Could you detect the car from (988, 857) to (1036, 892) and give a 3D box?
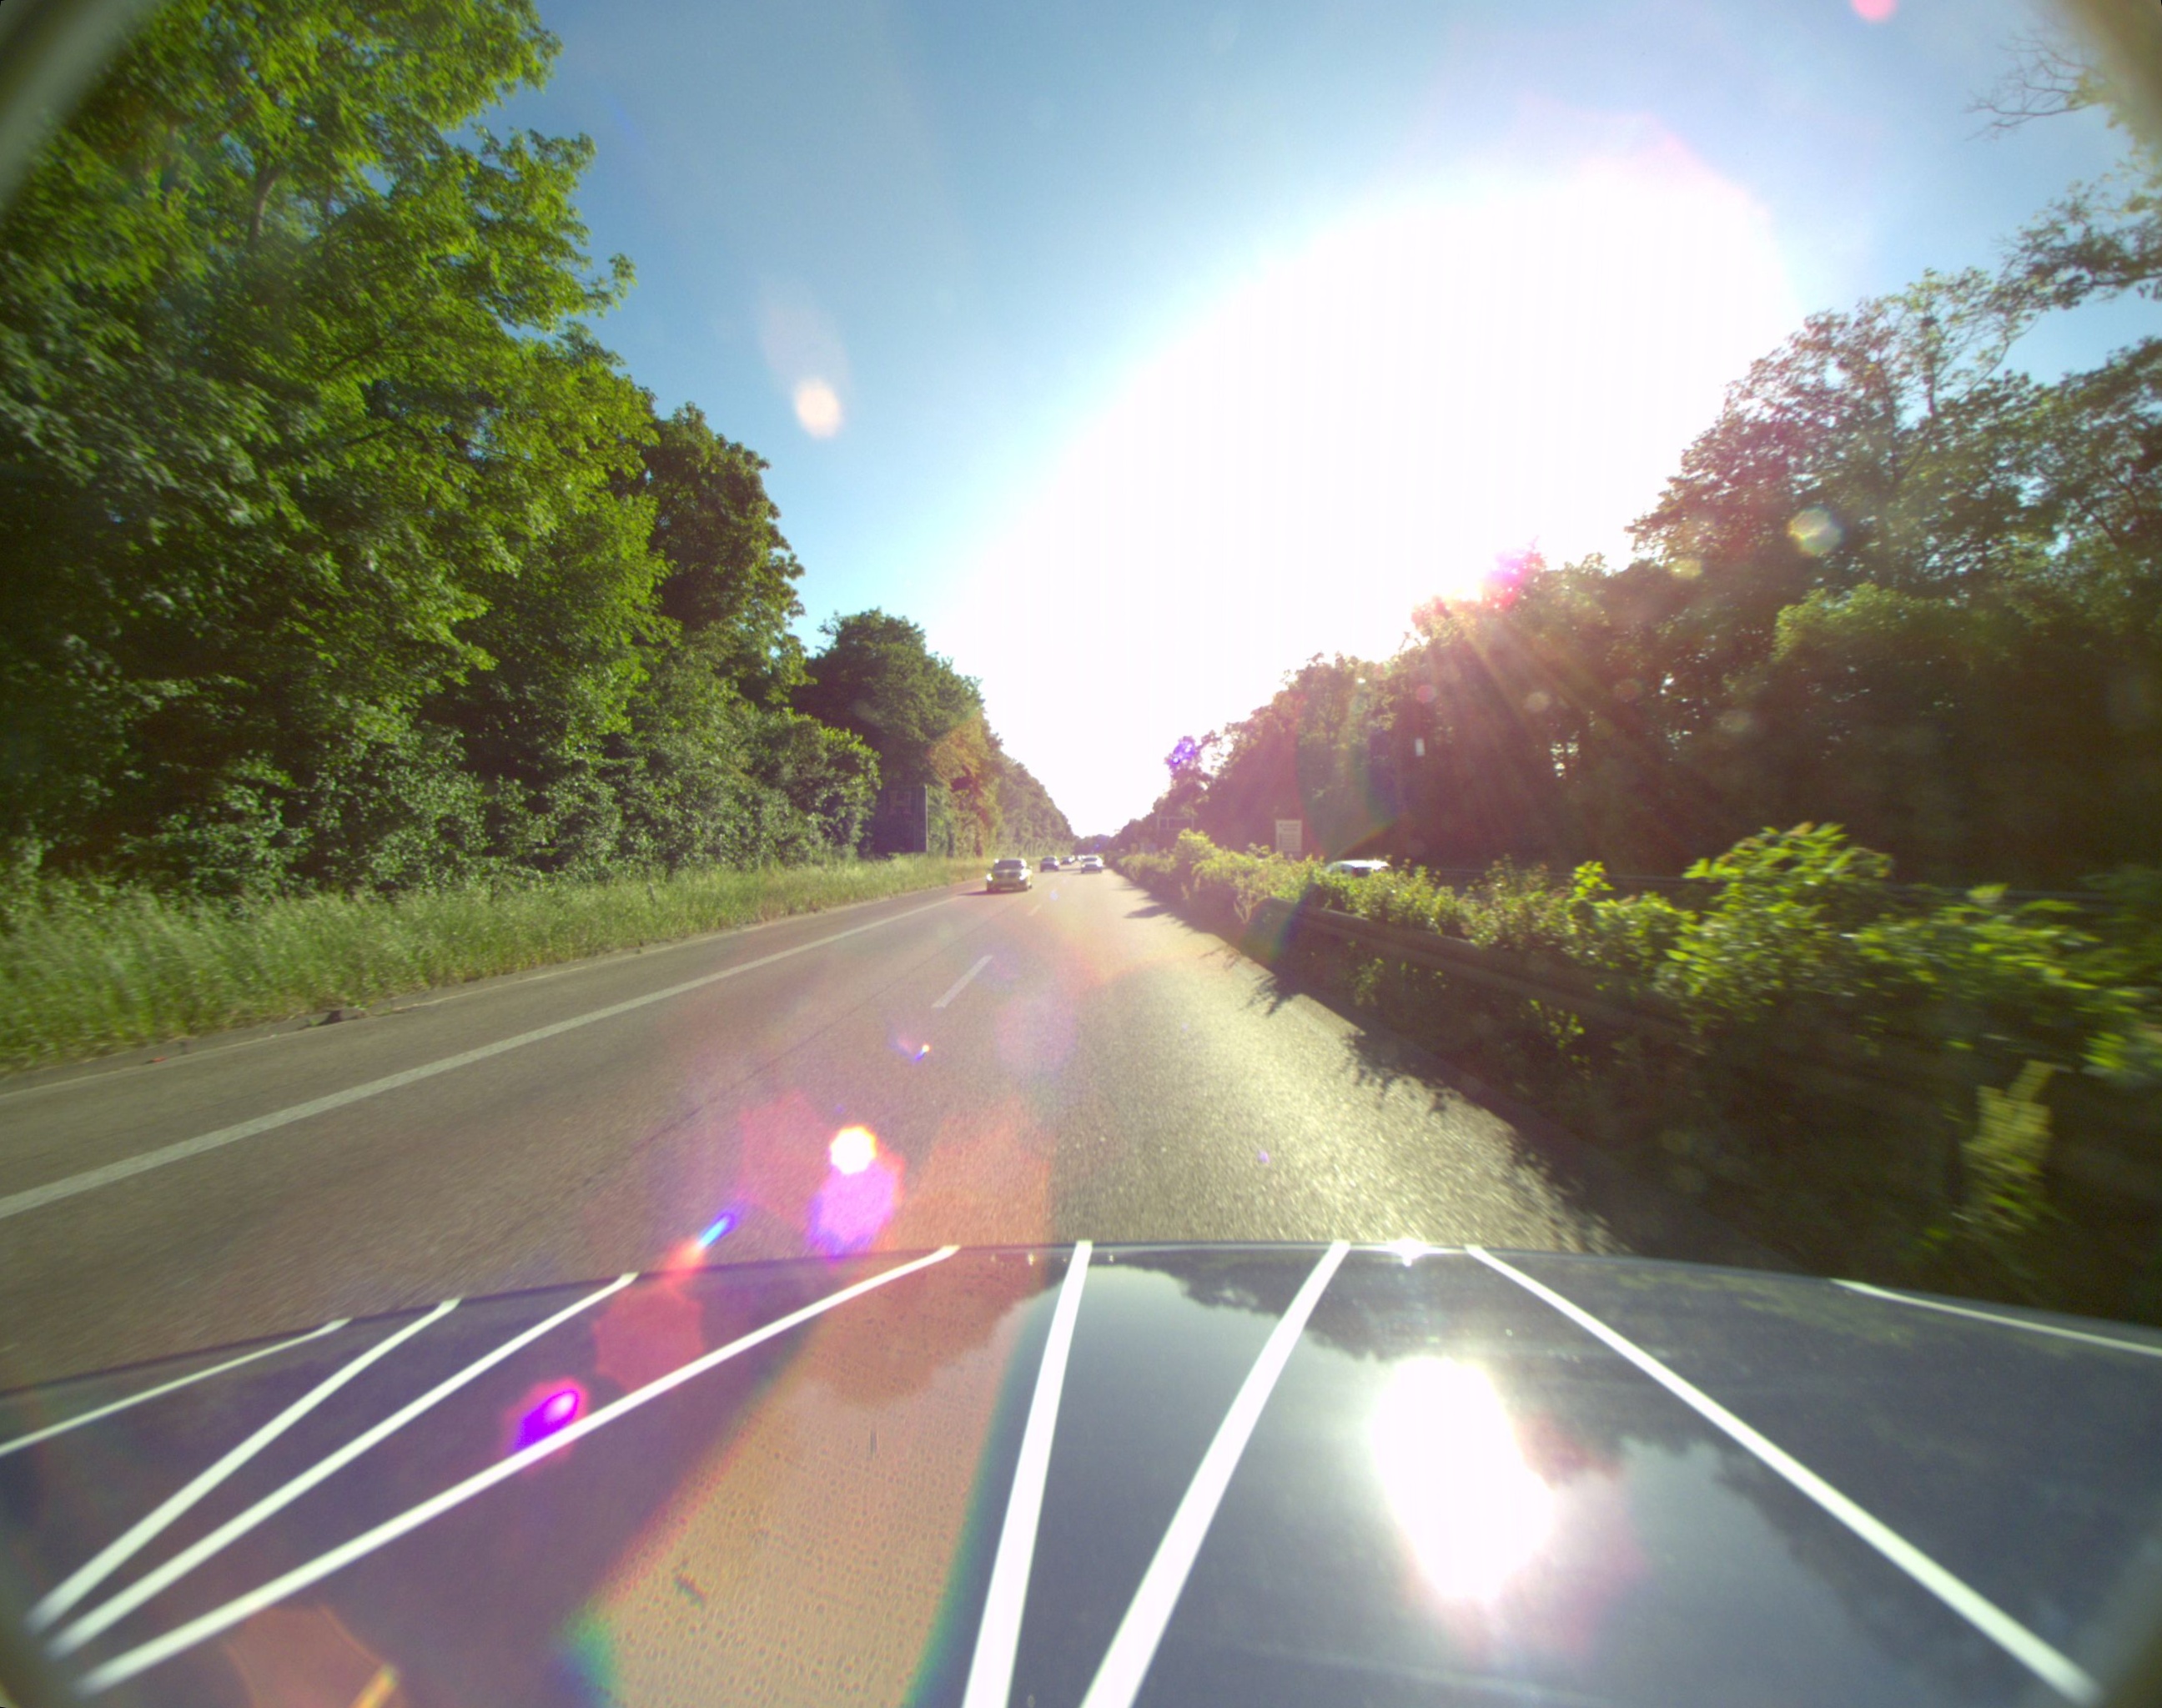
[{"bbox_3d":[-3.092,0.886,34.848,1.794,1.440,3.877,-2,0,0],"label":"car"}]

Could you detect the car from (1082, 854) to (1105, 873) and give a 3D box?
[{"bbox_3d":[1.054,0.790,63.682,1.890,1.440,3.878,-2,0,1],"label":"car"}]

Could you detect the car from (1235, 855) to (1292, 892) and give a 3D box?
[{"bbox_3d":[8.934,0.930,37.575,1.737,1.593,4.582,-2,1,1],"label":"car"}]

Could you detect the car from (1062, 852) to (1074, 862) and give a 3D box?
[{"bbox_3d":[-2.140,0.473,125.125,1.794,1.440,3.877,-2,0,0],"label":"car"}]

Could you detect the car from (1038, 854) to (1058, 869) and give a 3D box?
[{"bbox_3d":[-3.324,0.718,76.764,1.794,1.440,3.877,-2,0,0],"label":"car"}]

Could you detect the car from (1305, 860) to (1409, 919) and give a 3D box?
[{"bbox_3d":[8.828,1.074,24.704,1.717,1.595,4.585,-2,1,1],"label":"car"}]

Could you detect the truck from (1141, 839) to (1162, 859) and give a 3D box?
[{"bbox_3d":[14.936,-1.048,161.807,3.251,3.989,14.450,-2,0,1],"label":"truck"}]

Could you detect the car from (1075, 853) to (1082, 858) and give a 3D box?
[{"bbox_3d":[-0.602,0.373,202.259,1.794,1.440,3.877,-2,0,0],"label":"car"}]

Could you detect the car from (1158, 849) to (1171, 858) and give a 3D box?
[{"bbox_3d":[14.421,-0.032,131.145,1.768,1.464,3.792,-2,1,1],"label":"car"}]
